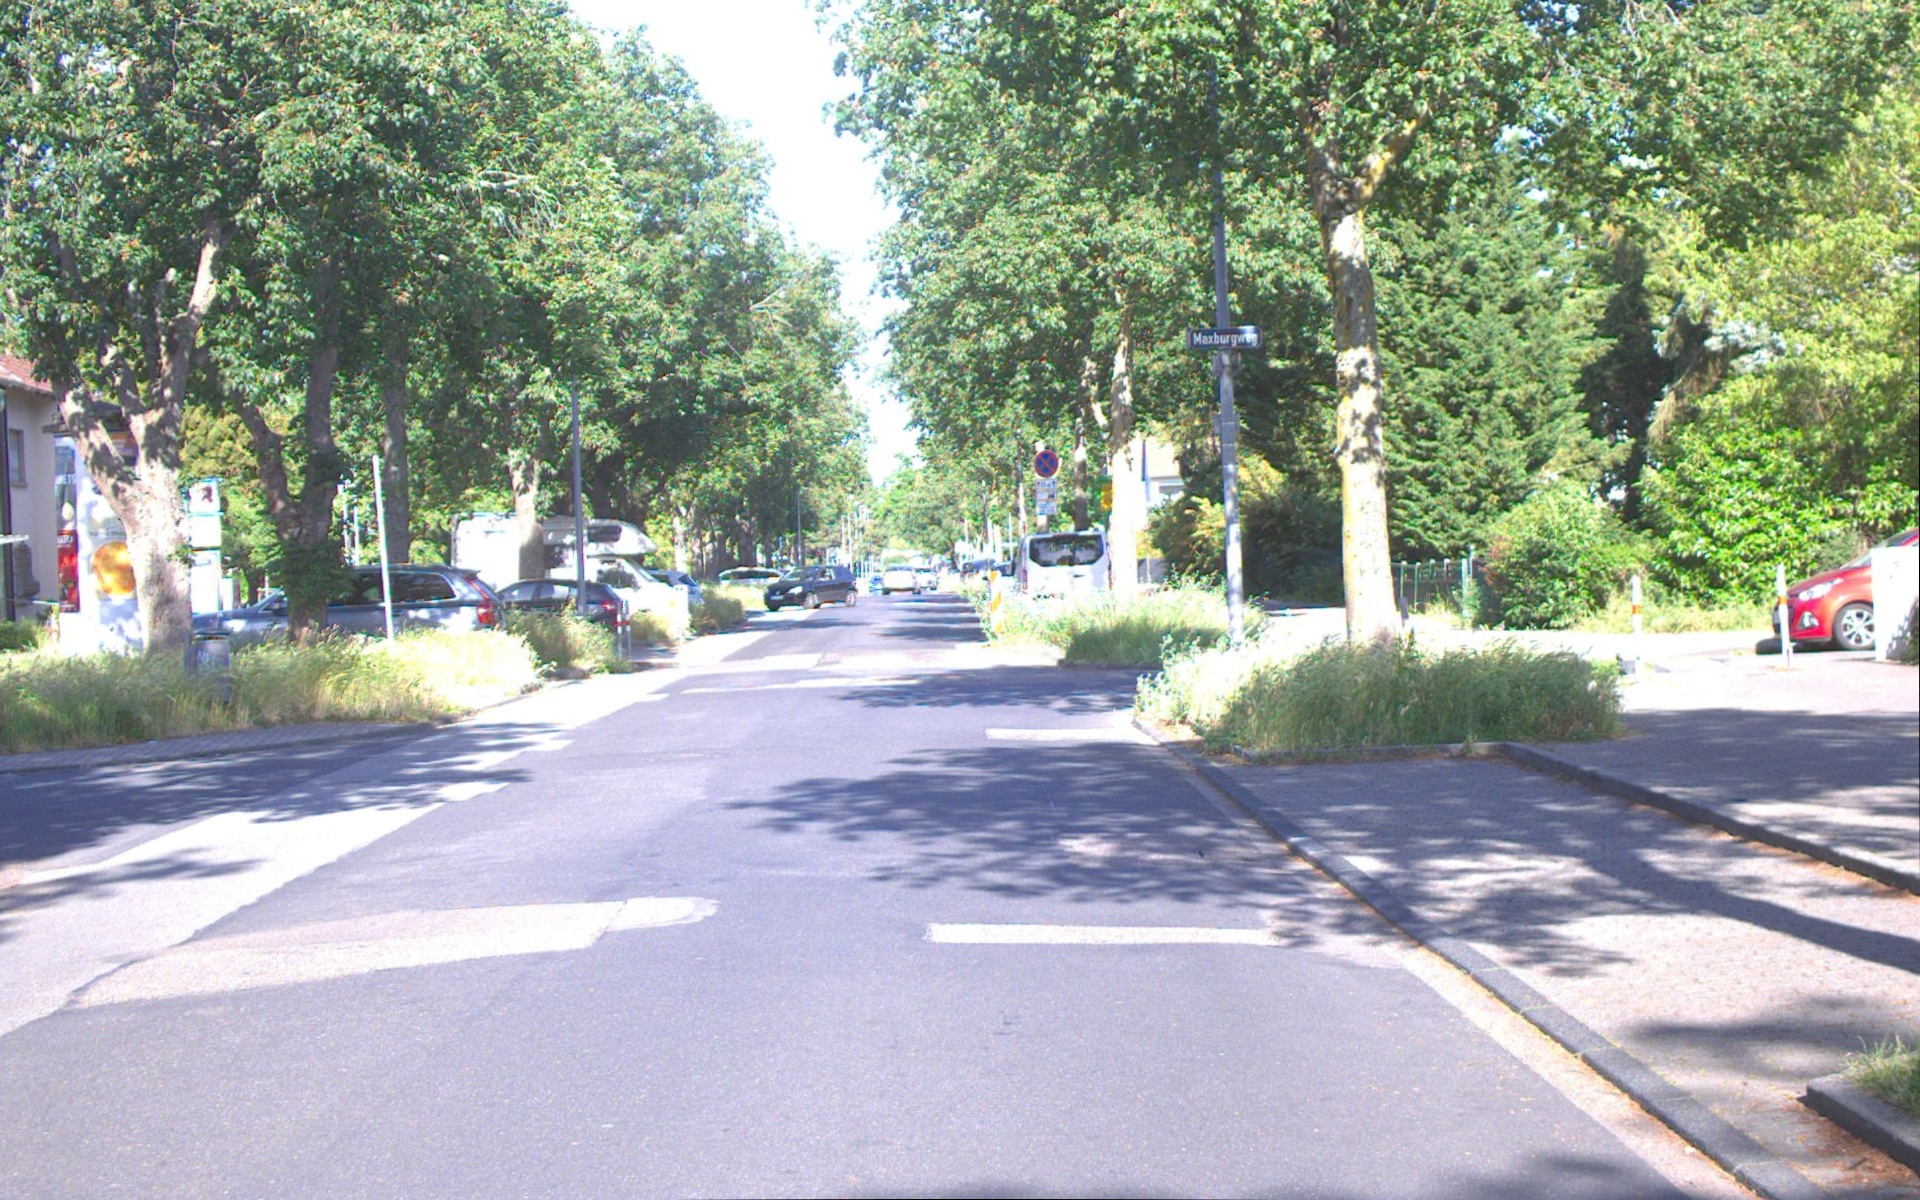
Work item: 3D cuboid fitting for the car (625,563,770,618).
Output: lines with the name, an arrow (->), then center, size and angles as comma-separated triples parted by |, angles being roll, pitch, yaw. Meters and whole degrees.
car -> -7.105, -0.264, 93.210 | 3.702, 1.441, 1.664 | -1, 0, 3

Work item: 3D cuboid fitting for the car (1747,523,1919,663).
car -> 11.952, -0.113, 41.839 | 4.287, 1.603, 2.000 | -1, 2, 0

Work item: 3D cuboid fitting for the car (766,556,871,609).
car -> -4.734, -0.598, 115.371 | 1.996, 1.638, 3.996 | 0, 2, 23

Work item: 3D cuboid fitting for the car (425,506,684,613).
car -> -8.936, -0.916, 76.202 | 5.498, 2.240, 2.517 | -1, 2, -2

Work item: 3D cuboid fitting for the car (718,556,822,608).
car -> -7.673, -0.749, 139.210 | 3.987, 2.006, 2.000 | -1, 2, 4

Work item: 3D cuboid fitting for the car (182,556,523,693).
car -> -8.486, 0.320, 48.352 | 4.545, 1.759, 2.001 | -1, 2, -5

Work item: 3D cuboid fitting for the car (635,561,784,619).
car -> -6.550, -0.267, 90.263 | 3.702, 1.441, 1.664 | -1, 0, 3

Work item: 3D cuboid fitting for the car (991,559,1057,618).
car -> 1.940, -0.360, 105.424 | 1.902, 1.768, 4.301 | -1, 0, 0

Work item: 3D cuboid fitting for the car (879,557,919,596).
car -> -2.938, -1.122, 164.405 | 1.802, 1.700, 4.001 | -1, 2, -2

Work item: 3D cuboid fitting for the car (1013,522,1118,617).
car -> 2.028, -0.593, 67.232 | 1.902, 1.768, 4.301 | -1, 0, 0

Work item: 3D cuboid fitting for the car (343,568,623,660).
car -> -7.511, 0.212, 54.462 | 4.286, 1.310, 1.909 | -1, 2, -5
